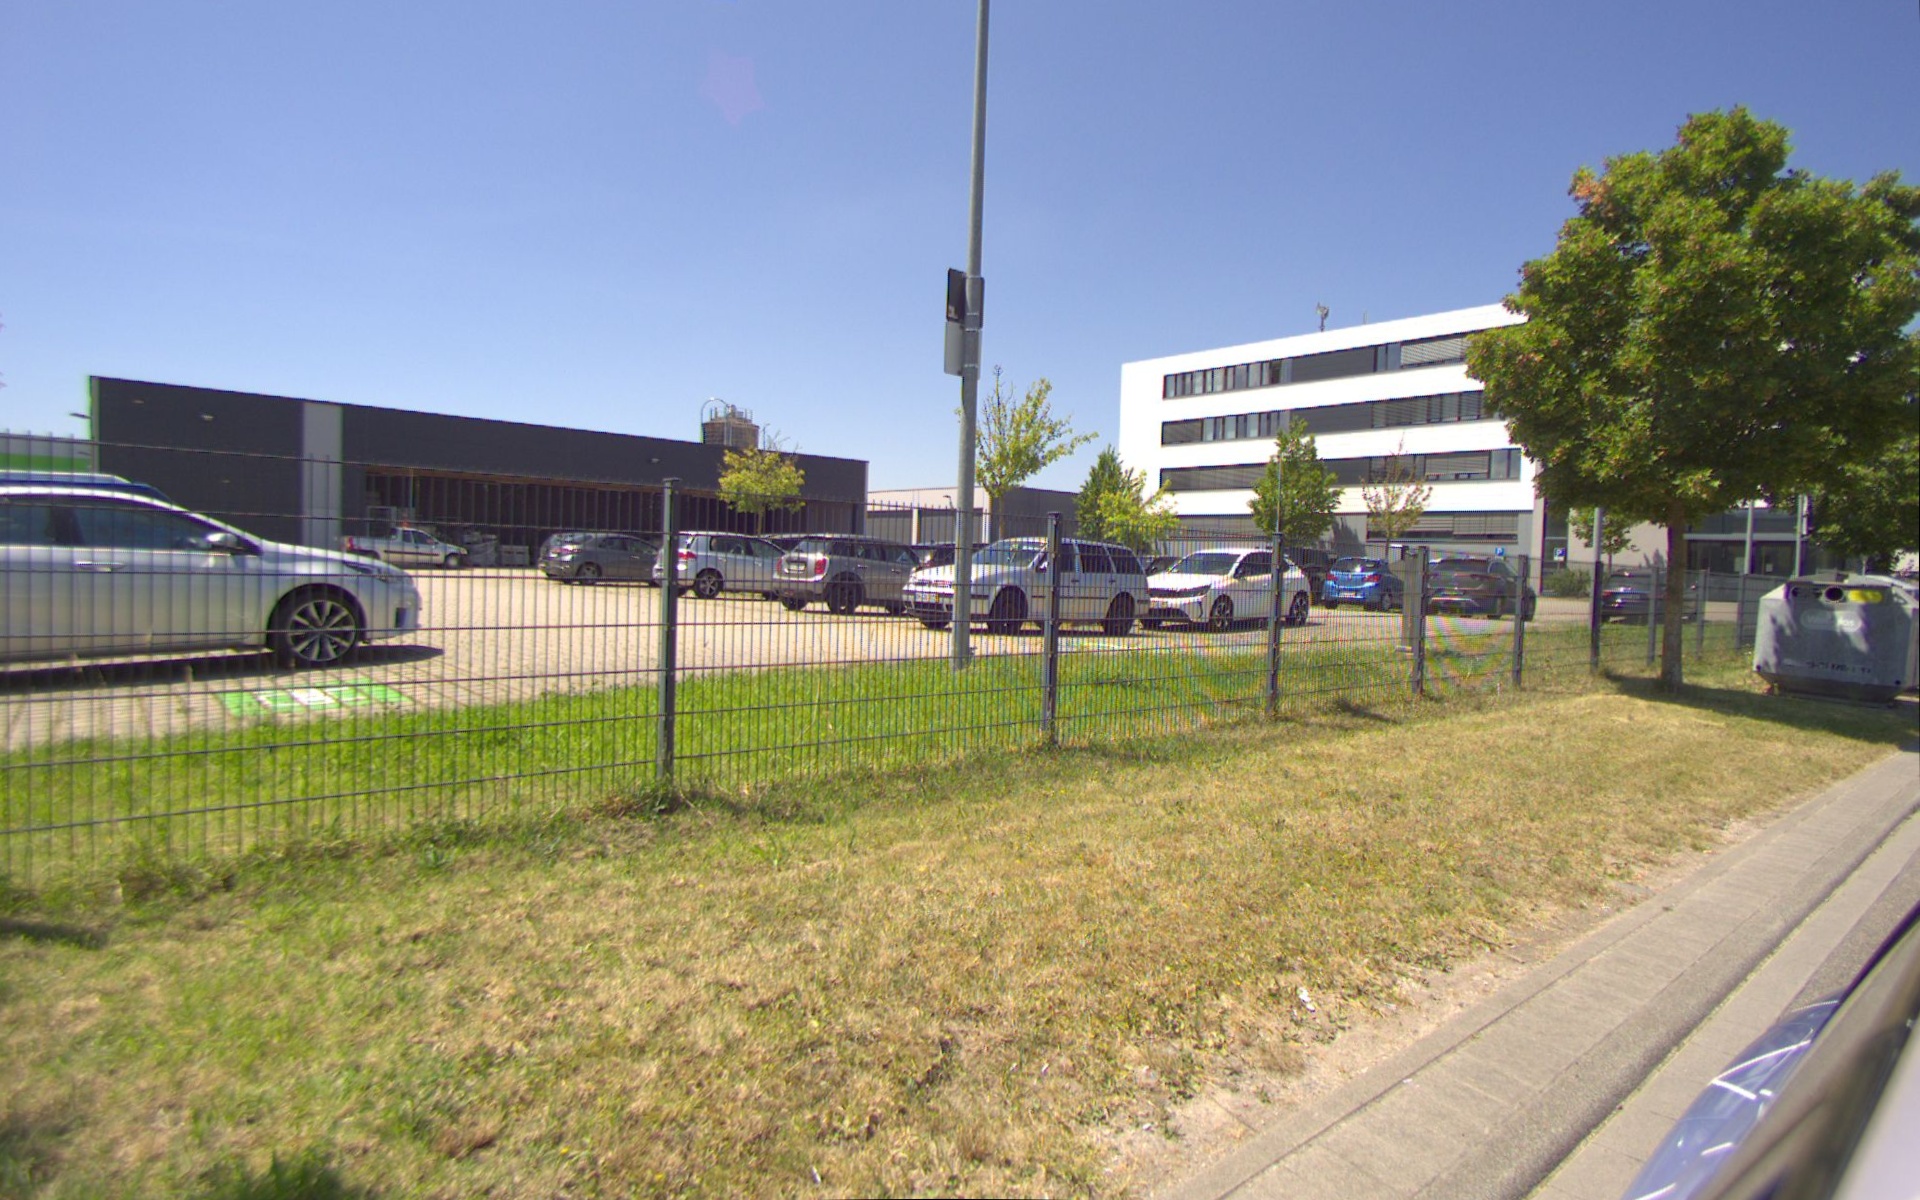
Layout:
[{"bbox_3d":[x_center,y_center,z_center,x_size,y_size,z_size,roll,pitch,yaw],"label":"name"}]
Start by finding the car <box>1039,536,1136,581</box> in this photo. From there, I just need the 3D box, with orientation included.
[{"bbox_3d":[5.361,-1.683,42.264,3.853,1.557,1.831,3,-2,-39],"label":"car"}]

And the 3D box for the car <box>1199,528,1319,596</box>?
[{"bbox_3d":[9.704,-1.165,32.752,3.853,1.895,1.831,3,-2,-39],"label":"car"}]

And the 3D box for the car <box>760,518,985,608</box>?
[{"bbox_3d":[-1.592,-0.667,19.058,3.855,1.517,1.853,0,2,-40],"label":"car"}]

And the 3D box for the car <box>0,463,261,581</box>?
[{"bbox_3d":[-18.185,-1.613,21.036,5.736,2.251,2.141,-4,5,-42],"label":"car"}]

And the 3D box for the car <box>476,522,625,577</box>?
[{"bbox_3d":[-12.493,-1.528,30.968,3.855,1.517,1.853,0,2,-40],"label":"car"}]

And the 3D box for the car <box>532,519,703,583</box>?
[{"bbox_3d":[-9.675,-1.361,28.714,4.177,1.651,1.966,0,2,-40],"label":"car"}]

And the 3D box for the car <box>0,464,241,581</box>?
[{"bbox_3d":[-20.182,-1.764,23.336,5.586,2.486,2.192,-4,4,-43],"label":"car"}]

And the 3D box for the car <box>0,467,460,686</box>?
[{"bbox_3d":[-6.847,-0.224,8.109,4.773,1.517,1.853,-4,4,-40],"label":"car"}]

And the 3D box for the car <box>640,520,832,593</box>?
[{"bbox_3d":[-5.054,-0.949,23.069,3.855,1.517,1.853,0,2,-40],"label":"car"}]

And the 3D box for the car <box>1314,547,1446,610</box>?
[{"bbox_3d":[11.635,-0.551,27.943,3.855,1.473,1.830,3,-2,-41],"label":"car"}]

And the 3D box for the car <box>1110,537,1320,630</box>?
[{"bbox_3d":[4.769,-0.392,18.728,3.856,1.517,1.853,-3,4,-39],"label":"car"}]

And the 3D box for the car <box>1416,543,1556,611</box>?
[{"bbox_3d":[13.516,-0.589,25.933,3.856,1.593,1.831,0,3,-41],"label":"car"}]

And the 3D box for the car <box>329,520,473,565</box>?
[{"bbox_3d":[-21.325,-2.135,38.713,4.526,1.517,1.852,0,1,-41],"label":"car"}]

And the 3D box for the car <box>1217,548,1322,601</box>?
[{"bbox_3d":[11.440,-0.886,37.322,3.853,1.666,1.831,4,-2,-39],"label":"car"}]

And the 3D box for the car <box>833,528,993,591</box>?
[{"bbox_3d":[-1.198,-1.042,26.687,3.855,1.517,1.853,0,2,-40],"label":"car"}]

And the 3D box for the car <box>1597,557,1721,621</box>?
[{"bbox_3d":[18.739,-0.255,27.061,3.855,1.473,1.830,3,-2,-41],"label":"car"}]

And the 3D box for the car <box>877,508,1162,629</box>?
[{"bbox_3d":[1.007,-0.403,15.279,4.216,1.518,1.852,3,0,-43],"label":"car"}]

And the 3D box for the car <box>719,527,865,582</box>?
[{"bbox_3d":[-4.923,-1.370,29.918,3.856,1.517,1.853,-3,4,-39],"label":"car"}]
